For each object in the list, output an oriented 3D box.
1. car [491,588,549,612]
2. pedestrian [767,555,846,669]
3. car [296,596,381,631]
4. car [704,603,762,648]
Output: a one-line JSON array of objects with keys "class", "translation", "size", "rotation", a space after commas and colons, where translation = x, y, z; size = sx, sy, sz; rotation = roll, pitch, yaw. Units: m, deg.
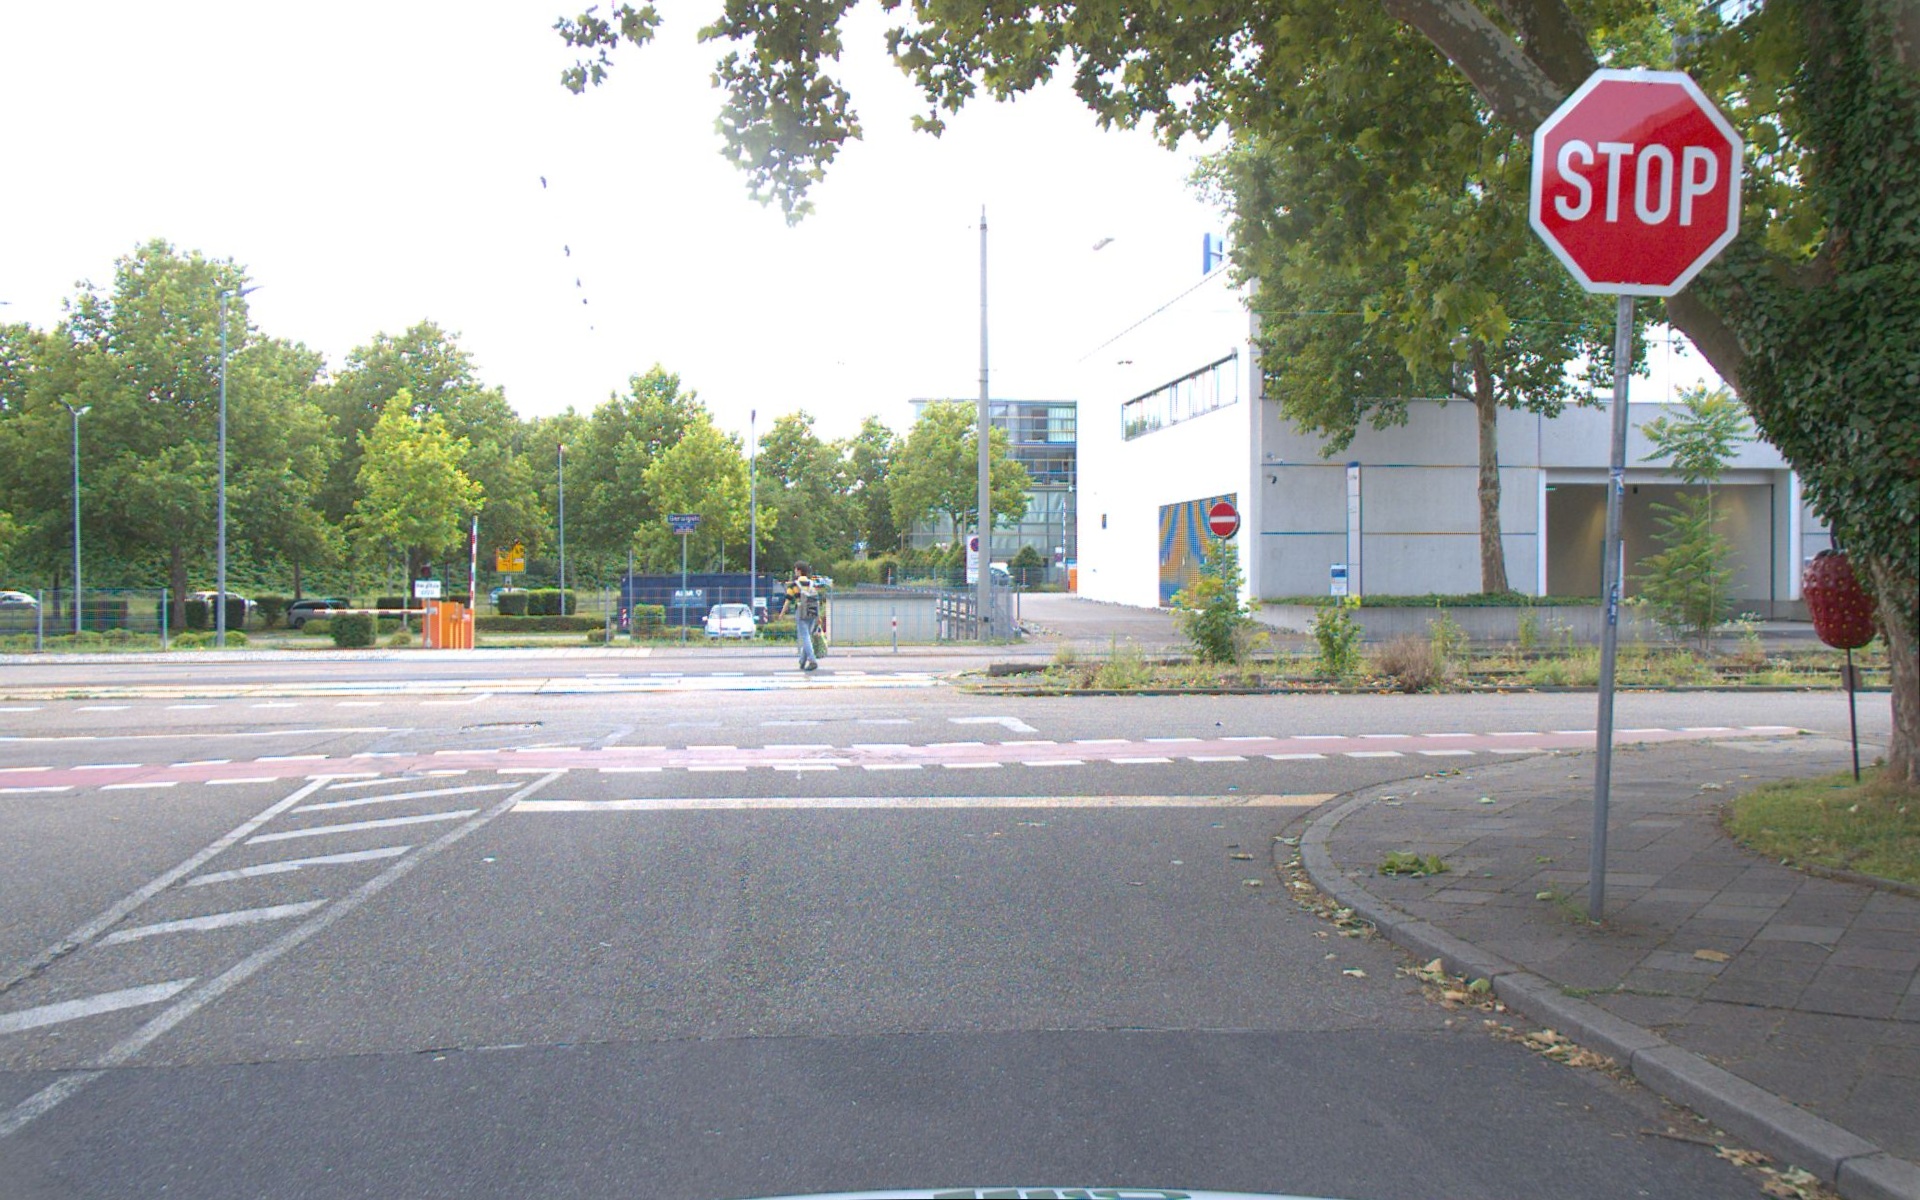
[{"class": "car", "translation": [-32.580, -0.019, 122.555], "size": [1.876, 1.751, 4.297], "rotation": [0, 1, 25]}, {"class": "pedestrian", "translation": [-2.628, 0.187, 28.160], "size": [0.988, 1.881, 1.219], "rotation": [0, 0, -26]}, {"class": "car", "translation": [-32.100, 0.682, 85.411], "size": [3.907, 1.731, 1.909], "rotation": [0, 0, 24]}, {"class": "car", "translation": [-7.843, 0.852, 57.399], "size": [1.894, 1.427, 4.075], "rotation": [-1, 0, -7]}]
